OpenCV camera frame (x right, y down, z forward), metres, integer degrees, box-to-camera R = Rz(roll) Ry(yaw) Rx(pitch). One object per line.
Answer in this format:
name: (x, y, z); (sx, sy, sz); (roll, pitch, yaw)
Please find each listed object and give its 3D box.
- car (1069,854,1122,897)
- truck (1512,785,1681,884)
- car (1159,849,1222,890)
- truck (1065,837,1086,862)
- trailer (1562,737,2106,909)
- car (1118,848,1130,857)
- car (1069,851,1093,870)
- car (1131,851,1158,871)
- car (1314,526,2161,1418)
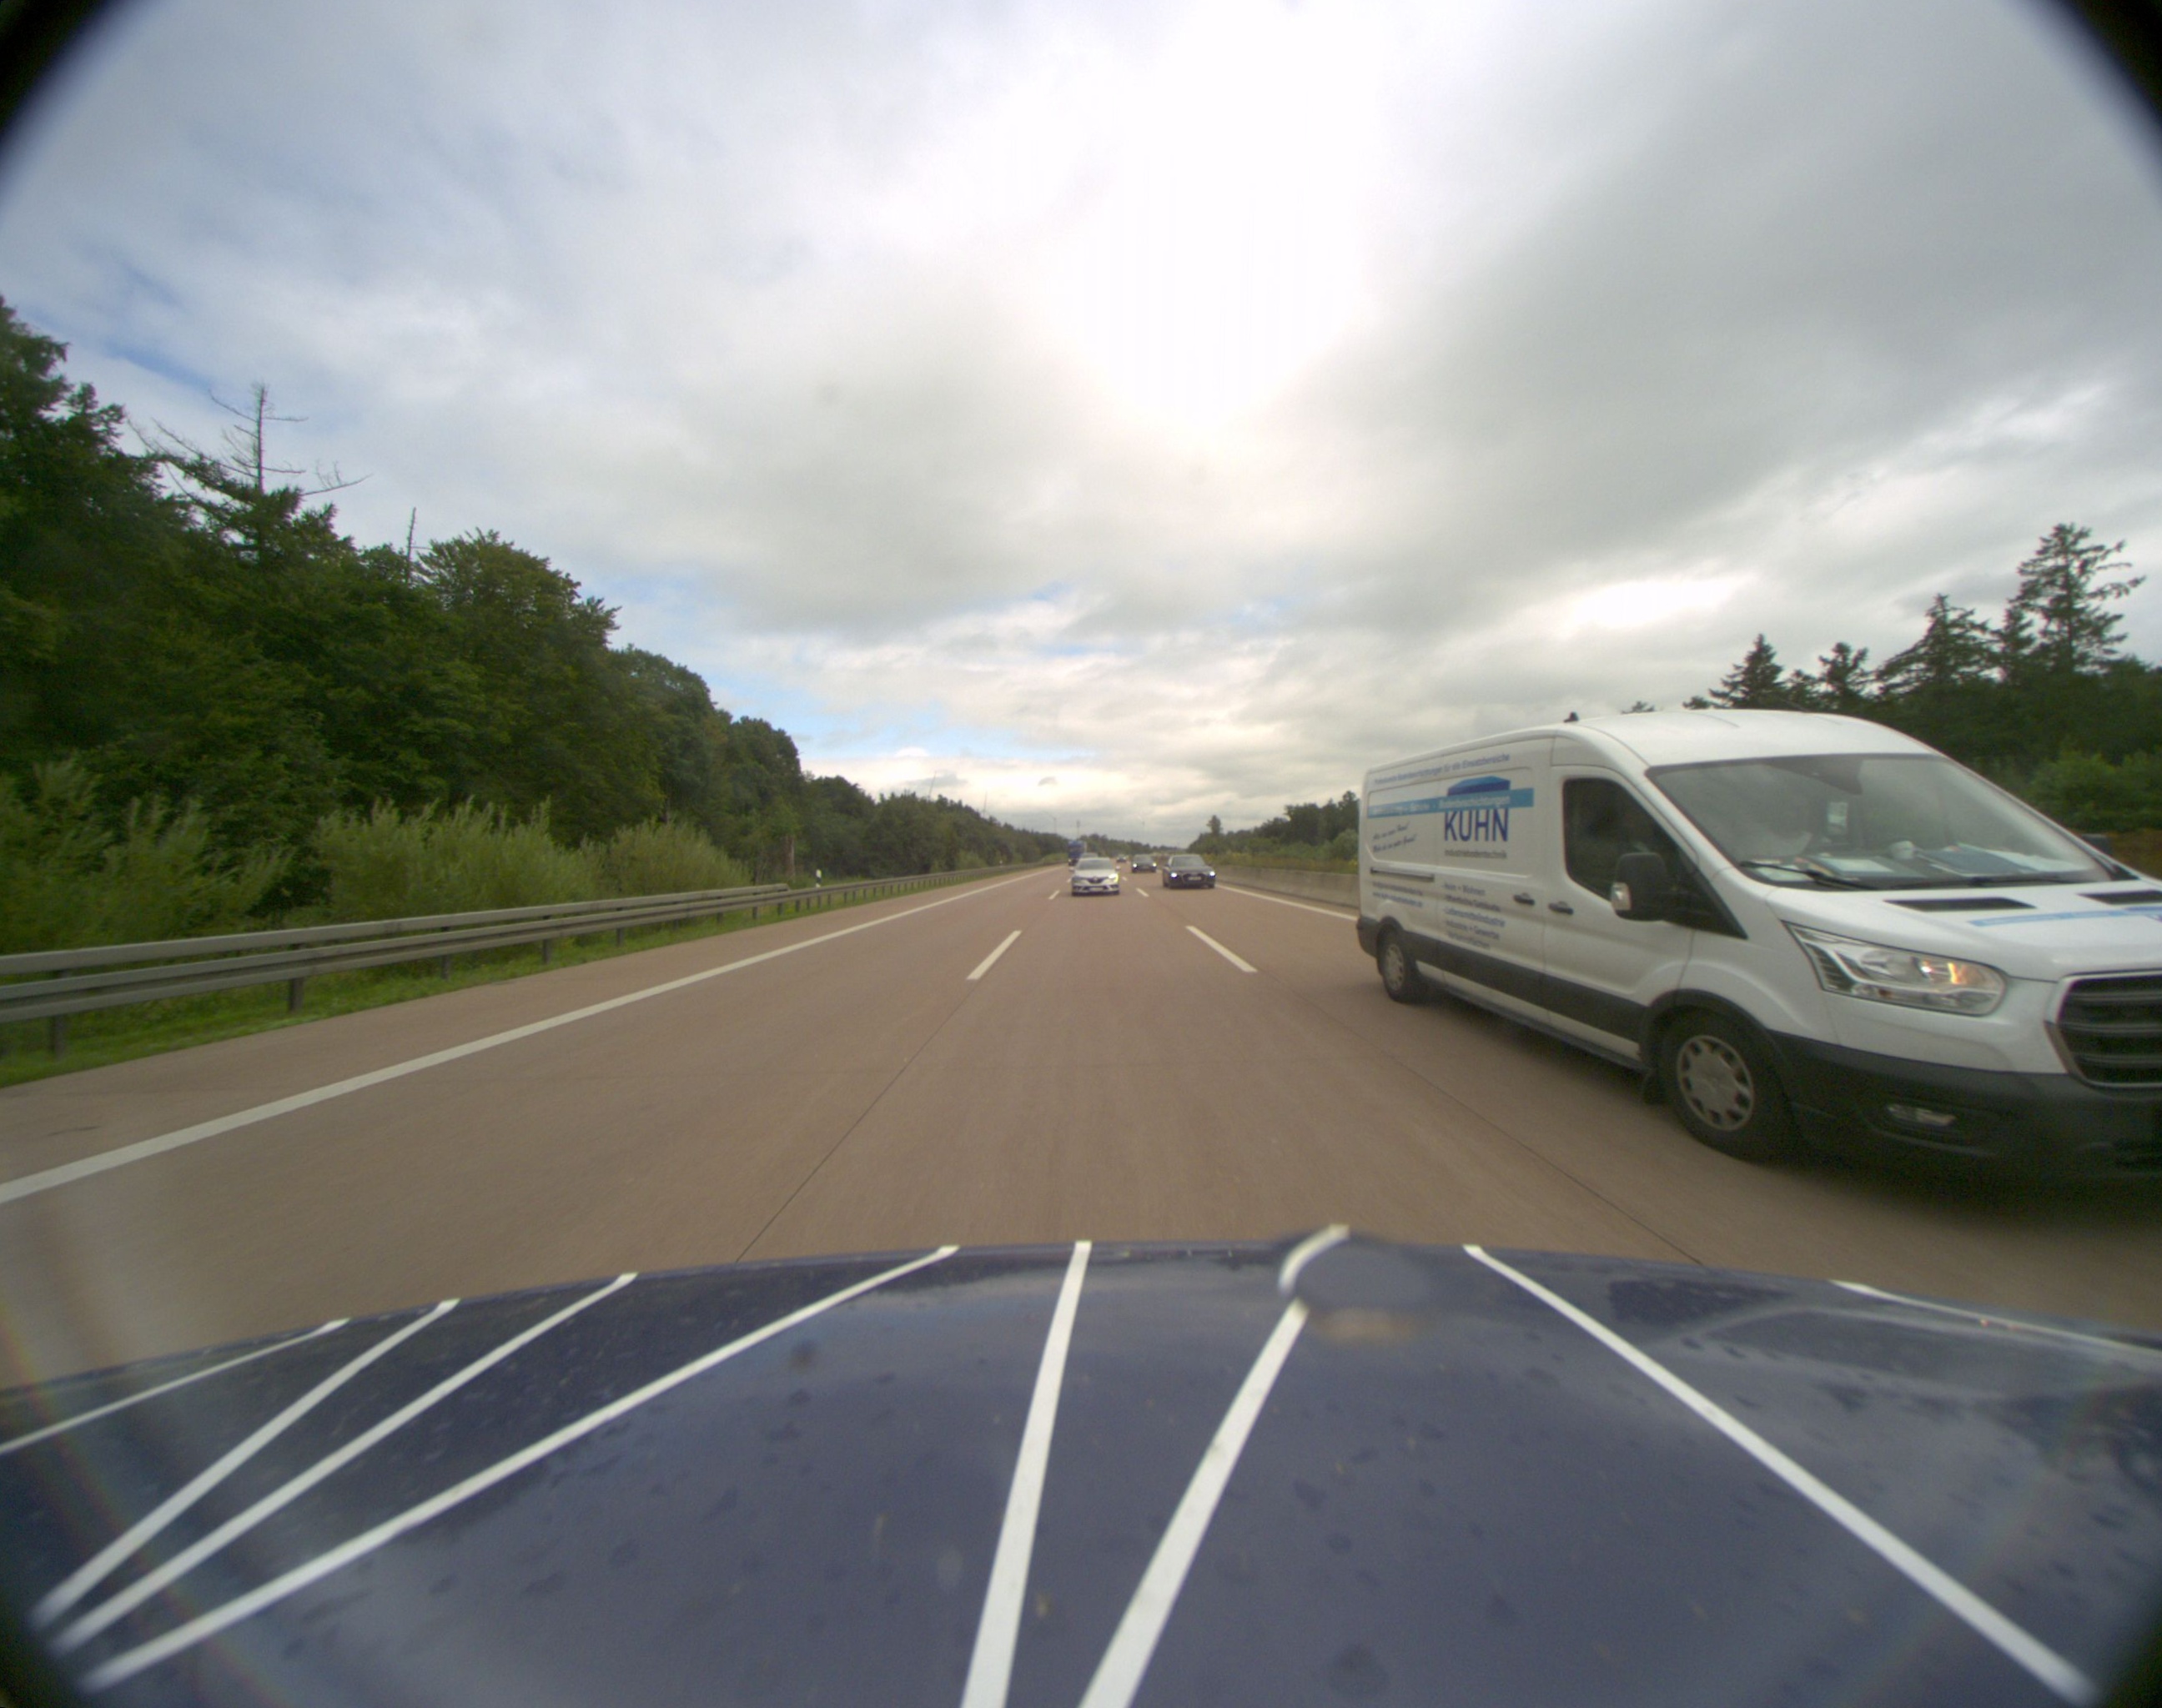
car: (0.587, 0.806, 29.953); (1.923, 1.516, 4.000); (-2, 0, 2)
truck: (19.826, -0.696, 29.677); (2.941, 3.399, 5.344); (-2, 0, 1)
car: (4.734, 0.608, 33.602); (2.090, 1.541, 5.674); (-2, 0, 2)
truck: (-0.885, -0.765, 123.881); (2.956, 3.705, 7.949); (-5, 0, 0)
trailer: (19.675, -0.662, 22.252); (2.941, 3.399, 13.270); (-2, 0, 1)
car: (8.302, -0.261, 146.912); (1.999, 1.689, 5.251); (-2, 1, 0)
car: (0.055, 0.552, 67.702); (1.986, 1.499, 4.052); (-2, 1, 1)
car: (5.292, 0.538, 63.585); (2.063, 1.483, 5.453); (-2, 1, 3)
car: (3.932, 0.303, 5.690); (2.143, 2.492, 7.131); (-1, 0, 0)
